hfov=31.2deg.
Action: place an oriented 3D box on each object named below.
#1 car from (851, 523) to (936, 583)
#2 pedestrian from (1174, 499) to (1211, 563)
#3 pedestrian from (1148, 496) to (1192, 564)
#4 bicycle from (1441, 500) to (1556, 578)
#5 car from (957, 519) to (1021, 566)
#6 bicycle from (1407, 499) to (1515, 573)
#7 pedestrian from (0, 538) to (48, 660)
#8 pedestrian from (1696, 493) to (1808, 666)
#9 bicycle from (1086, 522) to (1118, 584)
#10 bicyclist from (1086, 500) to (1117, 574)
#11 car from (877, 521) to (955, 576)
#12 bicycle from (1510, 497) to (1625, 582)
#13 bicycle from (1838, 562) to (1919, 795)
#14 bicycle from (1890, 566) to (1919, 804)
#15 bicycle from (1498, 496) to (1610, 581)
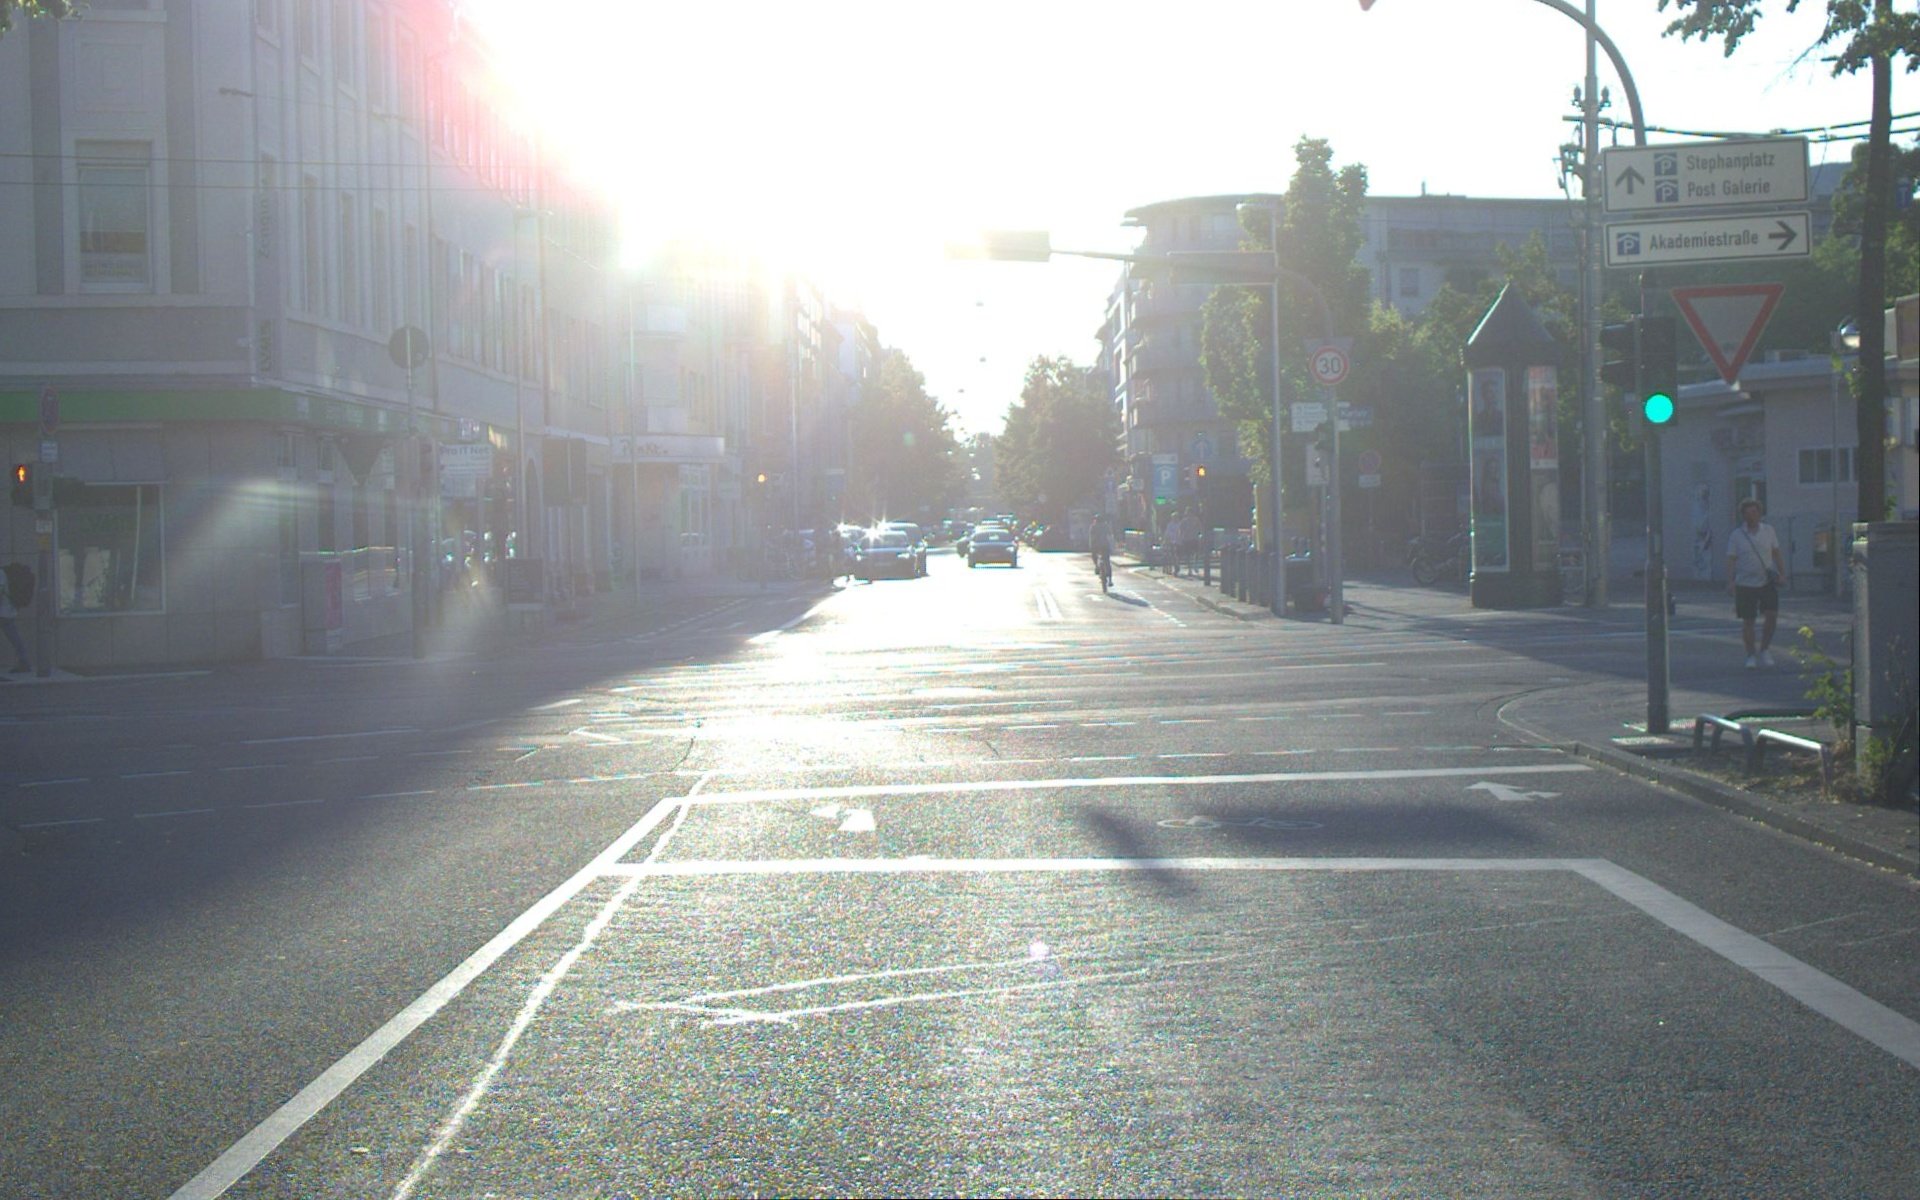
[{"bbox_3d":[-1.984,-1.451,104.100,2.303,1.672,5.532,-2,1,1],"label":"car"},{"bbox_3d":[6.697,-1.987,98.836,0.804,1.780,0.993,-3,0,15],"label":"pedestrian"},{"bbox_3d":[6.168,-2.058,100.859,0.992,1.950,0.805,-1,1,28],"label":"pedestrian"},{"bbox_3d":[11.024,-1.251,70.448,2.222,1.517,0.681,-2,1,2],"label":"bicycle"},{"bbox_3d":[1.096,-2.182,128.882,2.303,1.672,5.532,-2,1,1],"label":"car"},{"bbox_3d":[10.729,-1.364,73.599,2.223,1.517,0.681,-1,1,6],"label":"bicycle"},{"bbox_3d":[-12.346,-0.013,44.599,0.867,1.543,0.699,-2,1,-21],"label":"pedestrian"},{"bbox_3d":[8.156,-0.220,35.378,0.805,1.720,0.992,-3,0,29],"label":"pedestrian"},{"bbox_3d":[3.313,-1.114,80.166,0.679,1.397,2.230,-2,1,2],"label":"bicycle"},{"bbox_3d":[3.296,-1.467,80.135,0.679,1.701,0.669,-2,1,3],"label":"bicyclist"},{"bbox_3d":[-1.402,-1.689,111.677,2.303,1.672,5.532,-2,1,1],"label":"car"},{"bbox_3d":[11.189,-1.116,63.343,1.986,1.517,0.479,-2,1,2],"label":"bicycle"},{"bbox_3d":[5.655,0.390,18.119,1.913,1.199,0.470,-1,1,3],"label":"bicycle"},{"bbox_3d":[5.796,0.408,17.623,1.913,1.199,0.470,-1,1,3],"label":"bicycle"},{"bbox_3d":[11.116,-1.152,64.382,1.986,1.517,0.479,-2,1,2],"label":"bicycle"}]
